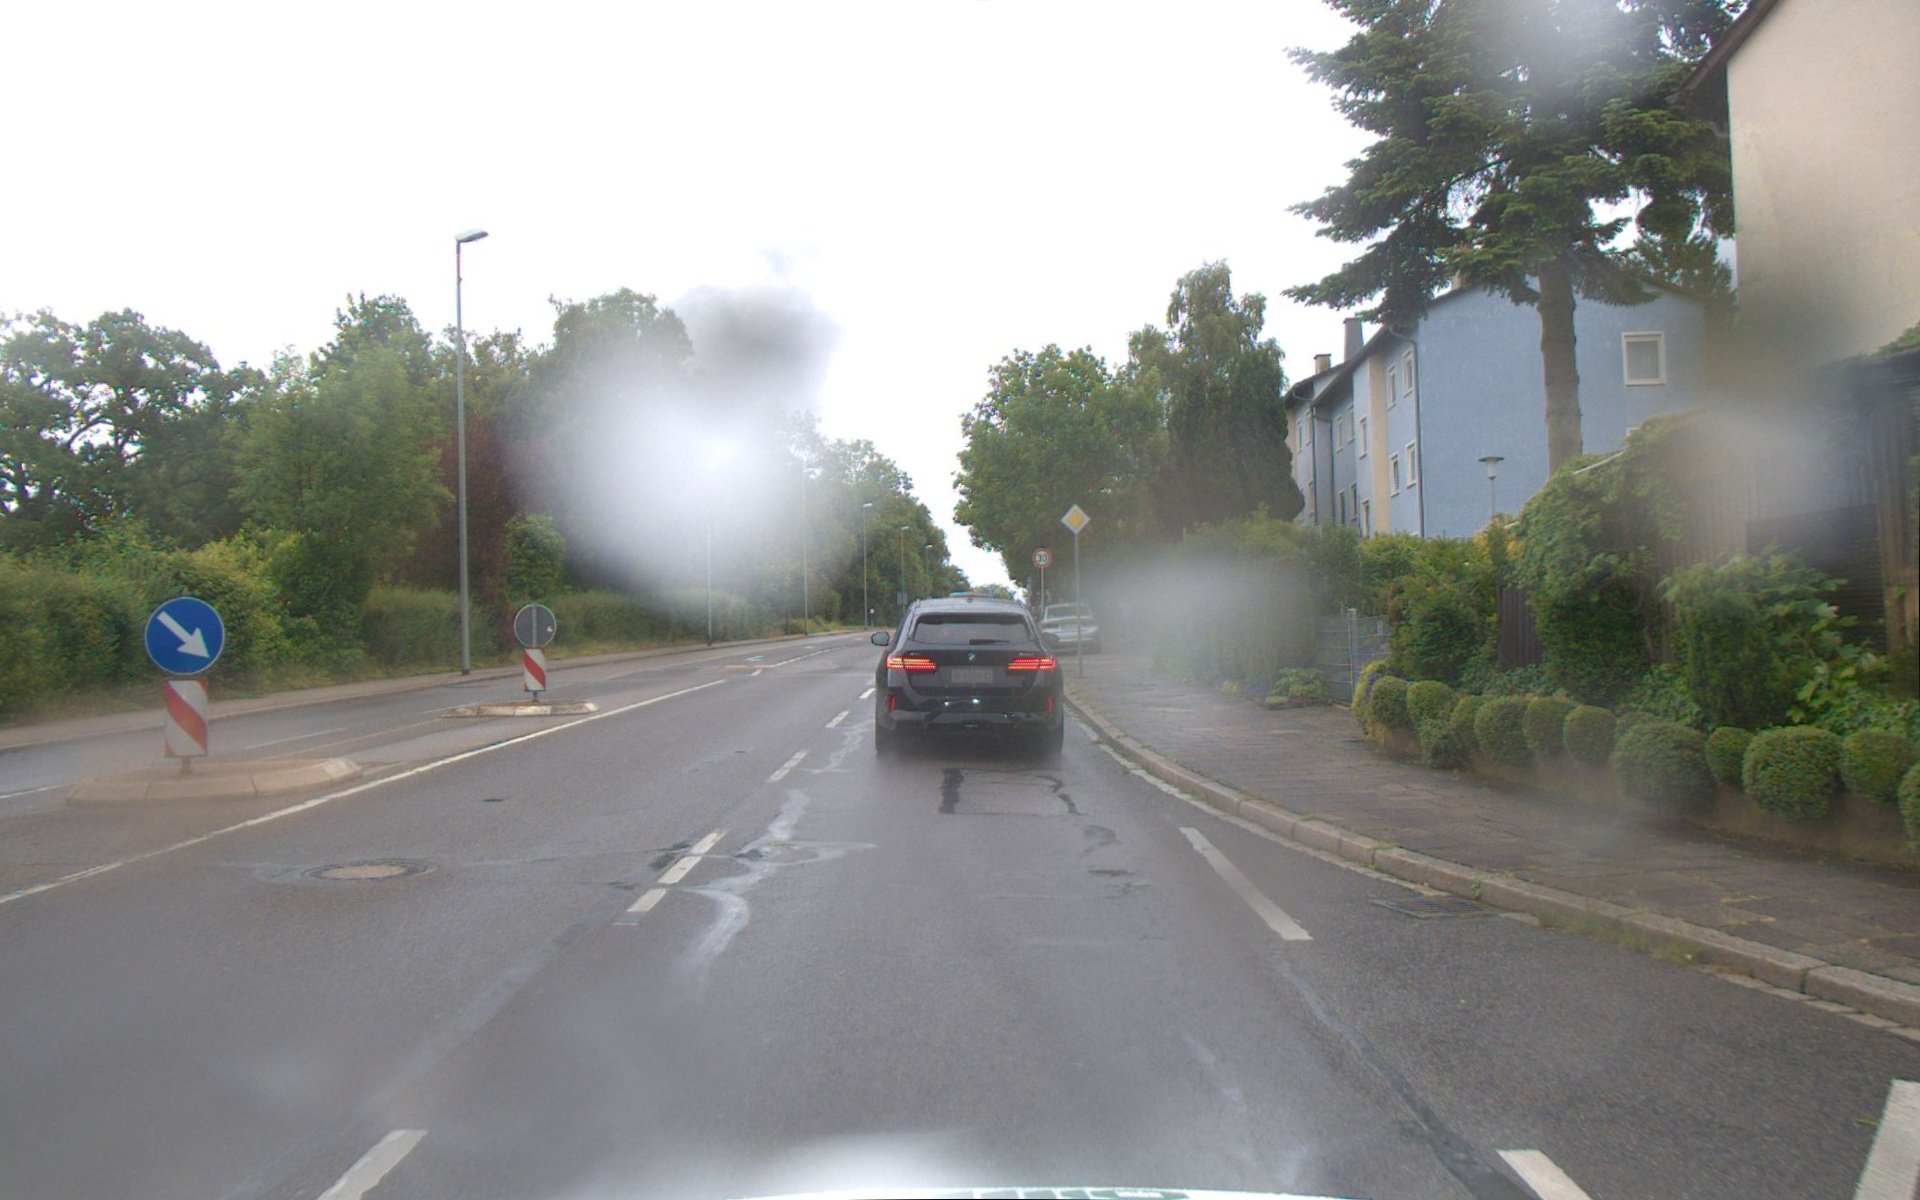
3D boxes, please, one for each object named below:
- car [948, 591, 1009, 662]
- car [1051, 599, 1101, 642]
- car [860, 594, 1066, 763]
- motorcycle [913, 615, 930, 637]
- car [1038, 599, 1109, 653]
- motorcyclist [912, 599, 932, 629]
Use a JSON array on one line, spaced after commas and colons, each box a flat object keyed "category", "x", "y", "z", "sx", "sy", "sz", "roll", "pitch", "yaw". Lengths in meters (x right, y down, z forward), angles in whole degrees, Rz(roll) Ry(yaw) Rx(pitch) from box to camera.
[{"category": "car", "x": 0.490, "y": 0.700, "z": 46.503, "sx": 1.596, "sy": 1.865, "sz": 4.000, "roll": -2, "pitch": 0, "yaw": 0}, {"category": "car", "x": 4.246, "y": 0.733, "z": 60.968, "sx": 1.557, "sy": 1.486, "sz": 3.562, "roll": -1, "pitch": 0, "yaw": 0}, {"category": "car", "x": 0.051, "y": 0.726, "z": 17.140, "sx": 1.858, "sy": 1.515, "sz": 4.000, "roll": 1, "pitch": 0, "yaw": 1}, {"category": "motorcycle", "x": -2.072, "y": 1.400, "z": 89.897, "sx": 0.858, "sy": 1.144, "sz": 2.740, "roll": 1, "pitch": -1, "yaw": 0}, {"category": "car", "x": 3.264, "y": 0.732, "z": 48.211, "sx": 1.895, "sy": 1.467, "sz": 4.409, "roll": -2, "pitch": 0, "yaw": 2}, {"category": "motorcyclist", "x": -2.065, "y": 0.762, "z": 89.864, "sx": 1.018, "sy": 1.595, "sz": 0.855, "roll": 1, "pitch": -1, "yaw": -1}]
